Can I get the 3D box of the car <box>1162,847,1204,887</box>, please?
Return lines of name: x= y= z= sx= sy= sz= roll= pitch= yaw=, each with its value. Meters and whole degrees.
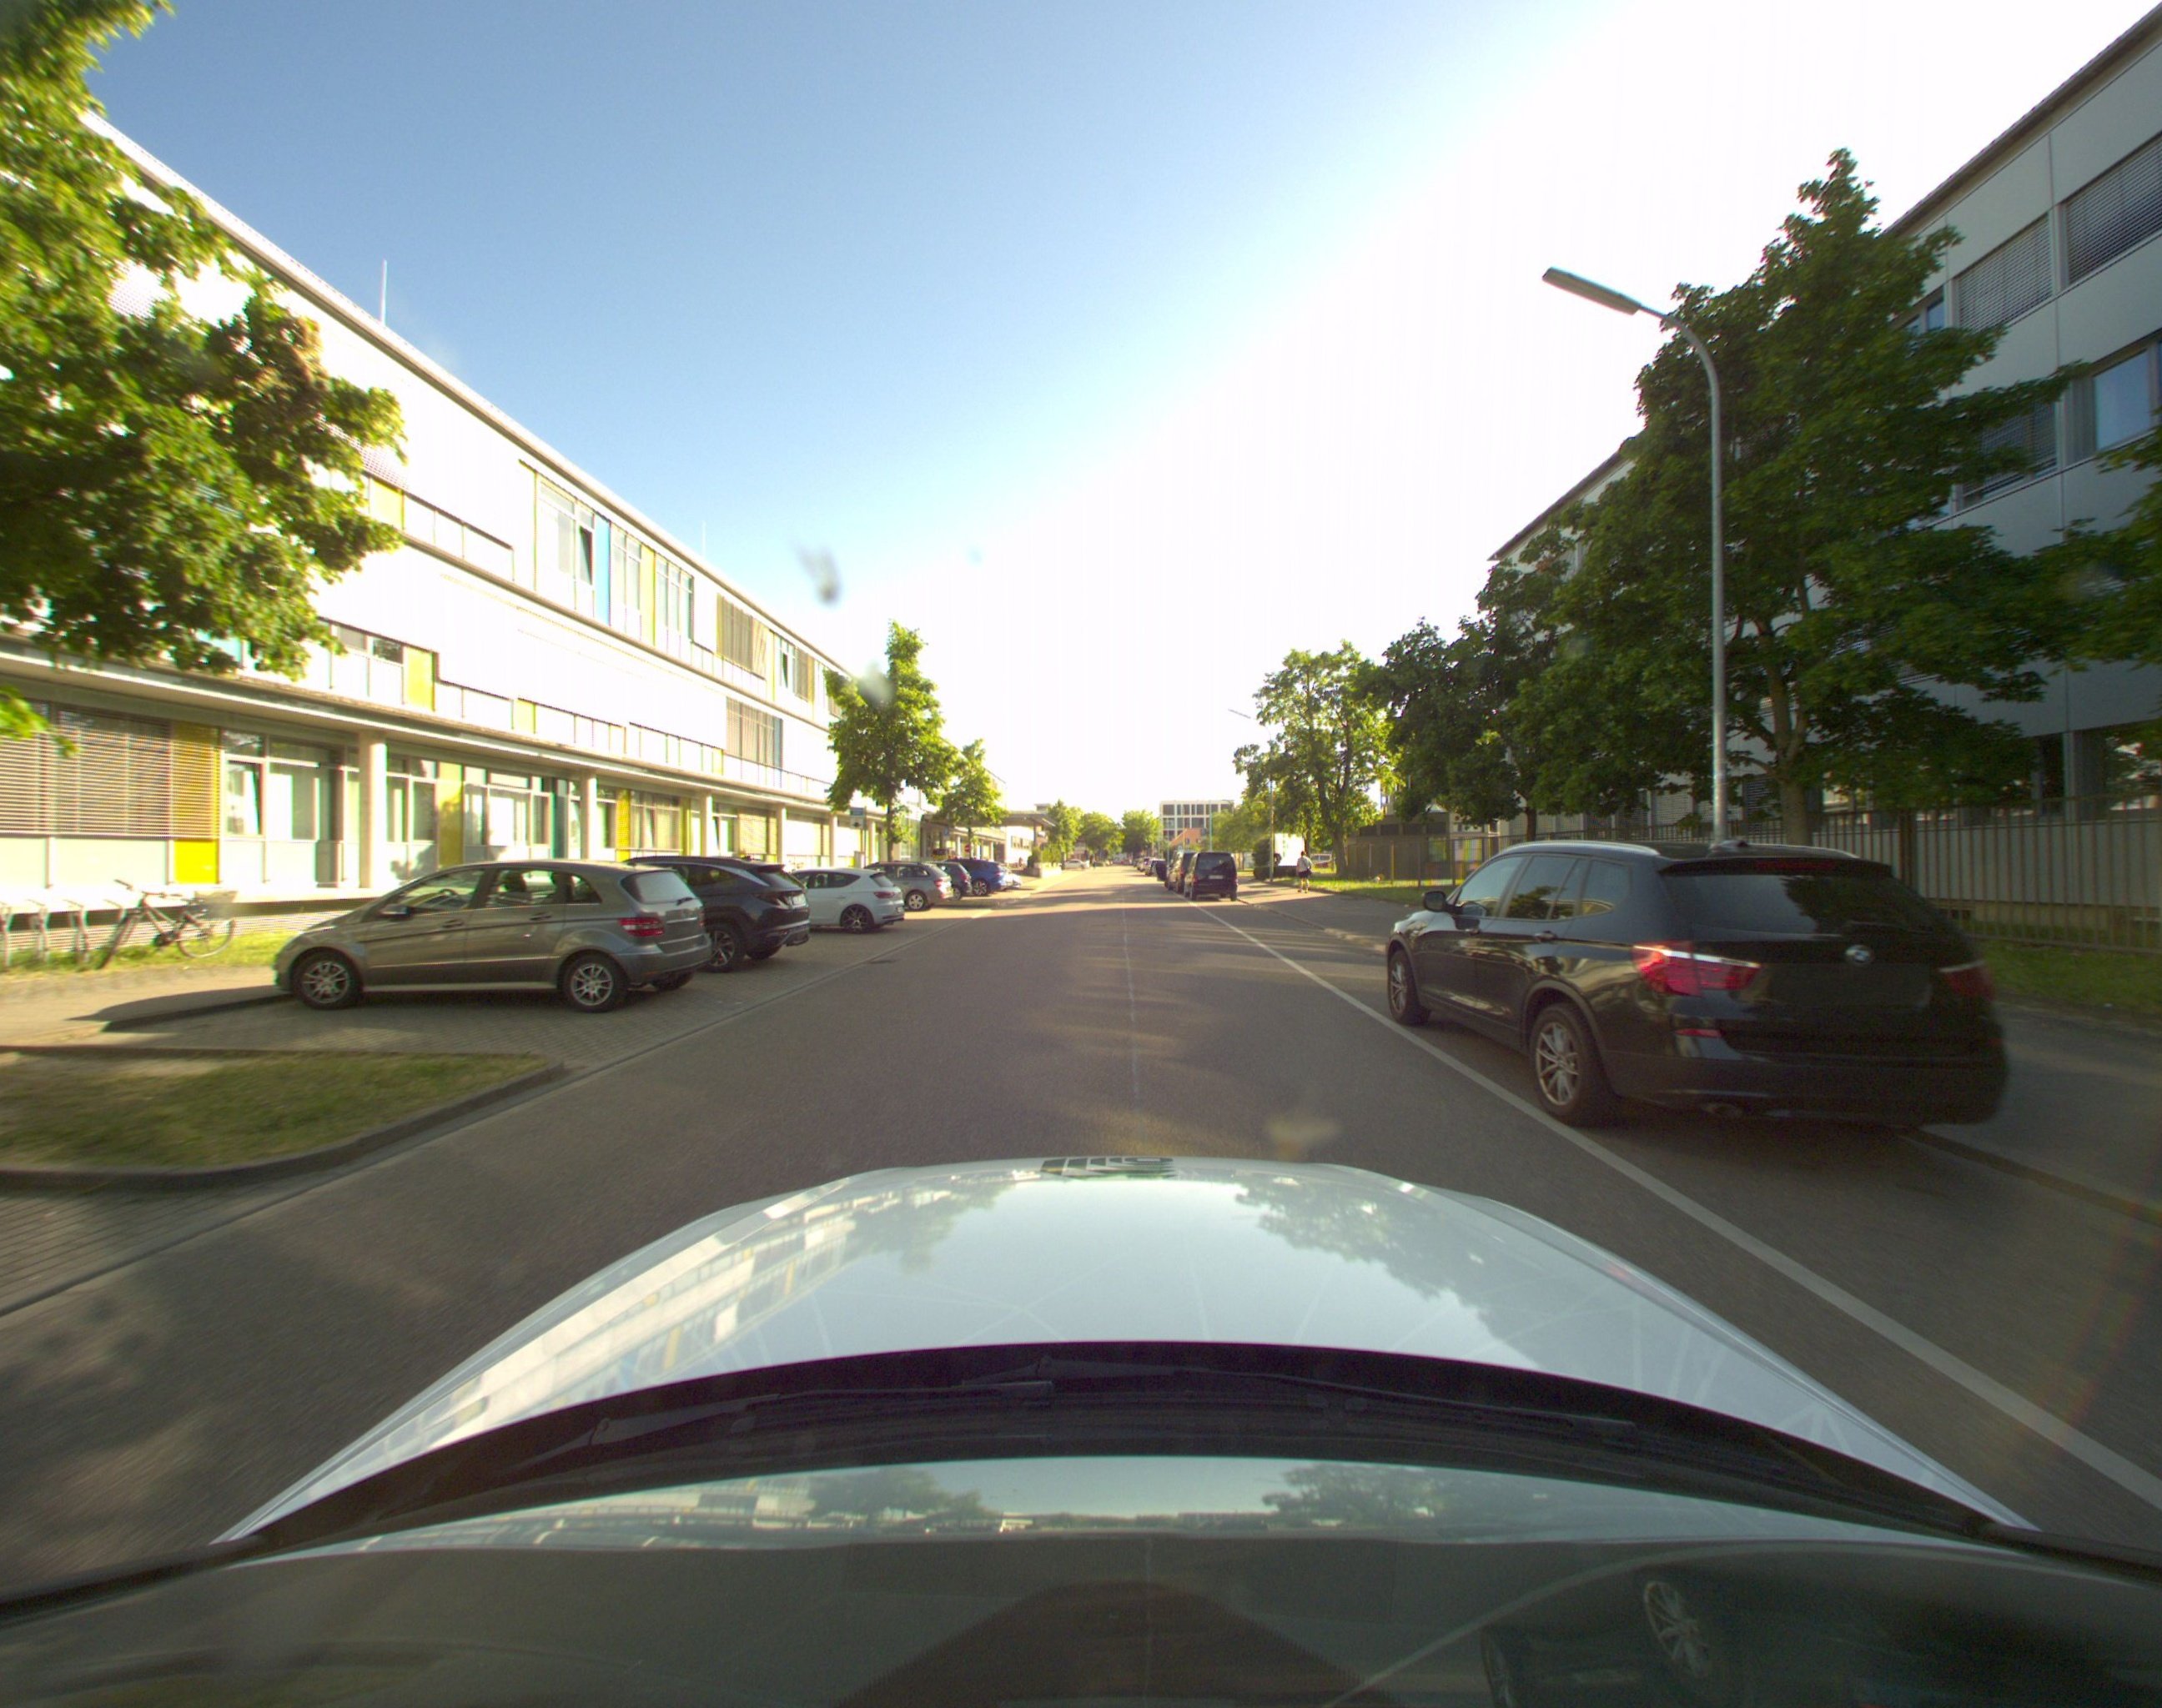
car: x=5.383 y=0.653 z=43.473 sx=1.867 sy=1.978 sz=4.002 roll=-2 pitch=0 yaw=2

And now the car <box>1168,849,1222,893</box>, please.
car: x=5.138 y=0.747 z=37.226 sx=1.986 sy=1.823 sz=4.201 roll=-2 pitch=0 yaw=2

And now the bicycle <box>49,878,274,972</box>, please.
bicycle: x=-12.693 y=0.933 z=11.348 sx=0.887 sy=1.111 sz=1.893 roll=1 pitch=0 yaw=6

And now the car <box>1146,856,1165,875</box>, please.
car: x=6.439 y=0.976 z=70.544 sx=1.491 sy=1.479 sz=3.652 roll=-2 pitch=0 yaw=2

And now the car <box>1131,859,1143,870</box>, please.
car: x=9.921 y=1.879 z=143.732 sx=1.986 sy=2.014 sz=4.002 roll=0 pitch=-2 yaw=2

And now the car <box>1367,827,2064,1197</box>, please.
car: x=3.704 y=0.696 z=6.036 sx=1.804 sy=1.666 sz=4.597 roll=1 pitch=1 yaw=4

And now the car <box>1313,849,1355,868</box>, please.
car: x=27.528 y=0.494 z=88.716 sx=3.977 sy=2.014 sz=1.998 roll=0 pitch=-2 yaw=-2

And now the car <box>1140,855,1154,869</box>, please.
car: x=7.456 y=0.936 z=91.968 sx=1.430 sy=1.560 sz=3.044 roll=-1 pitch=0 yaw=2

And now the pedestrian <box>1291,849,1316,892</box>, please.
pedestrian: x=8.885 y=0.638 z=32.536 sx=0.695 sy=1.661 sz=0.752 roll=-3 pitch=-1 yaw=2

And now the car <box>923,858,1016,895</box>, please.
car: x=-5.102 y=1.016 z=37.700 sx=3.974 sy=1.552 sz=2.000 roll=-1 pitch=0 yaw=-1

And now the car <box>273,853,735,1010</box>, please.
car: x=-6.458 y=0.825 z=9.512 sx=3.976 sy=1.607 sz=1.871 roll=1 pitch=0 yaw=-2

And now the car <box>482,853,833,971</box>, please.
car: x=-6.246 y=0.824 z=12.462 sx=4.234 sy=1.612 sz=2.047 roll=1 pitch=0 yaw=-2

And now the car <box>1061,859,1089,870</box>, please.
car: x=-0.858 y=1.504 z=118.913 sx=3.971 sy=1.519 sz=2.001 roll=0 pitch=-2 yaw=2

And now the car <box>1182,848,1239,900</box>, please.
car: x=4.850 y=0.717 z=30.988 sx=1.726 sy=1.830 sz=3.908 roll=-1 pitch=0 yaw=3

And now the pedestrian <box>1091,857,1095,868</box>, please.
pedestrian: x=1.744 y=1.255 z=117.153 sx=0.616 sy=1.624 sz=0.716 roll=-2 pitch=-1 yaw=2

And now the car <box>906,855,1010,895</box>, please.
car: x=-5.274 y=0.887 z=35.269 sx=4.202 sy=1.603 sz=1.871 roll=1 pitch=0 yaw=-2

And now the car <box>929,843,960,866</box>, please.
car: x=-12.401 y=0.079 z=74.344 sx=1.986 sy=2.014 sz=4.002 roll=0 pitch=-2 yaw=2

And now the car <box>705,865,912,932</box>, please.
car: x=-5.937 y=0.958 z=18.095 sx=3.976 sy=1.358 sz=1.742 roll=1 pitch=0 yaw=-2

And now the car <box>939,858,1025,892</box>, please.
car: x=-4.845 y=1.012 z=40.203 sx=3.974 sy=1.552 sz=2.000 roll=-1 pitch=0 yaw=-1

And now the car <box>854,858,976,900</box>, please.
car: x=-6.172 y=0.914 z=30.706 sx=4.202 sy=1.486 sz=1.871 roll=1 pitch=0 yaw=-2

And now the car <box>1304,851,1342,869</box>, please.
car: x=29.212 y=0.740 z=98.471 sx=3.974 sy=2.014 sz=2.000 roll=0 pitch=-2 yaw=0

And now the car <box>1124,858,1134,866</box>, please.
car: x=10.265 y=1.678 z=173.456 sx=1.733 sy=1.543 sz=4.010 roll=0 pitch=0 yaw=9

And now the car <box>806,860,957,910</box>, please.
car: x=-6.085 y=0.937 z=25.277 sx=4.202 sy=1.462 sz=1.871 roll=1 pitch=0 yaw=-2
